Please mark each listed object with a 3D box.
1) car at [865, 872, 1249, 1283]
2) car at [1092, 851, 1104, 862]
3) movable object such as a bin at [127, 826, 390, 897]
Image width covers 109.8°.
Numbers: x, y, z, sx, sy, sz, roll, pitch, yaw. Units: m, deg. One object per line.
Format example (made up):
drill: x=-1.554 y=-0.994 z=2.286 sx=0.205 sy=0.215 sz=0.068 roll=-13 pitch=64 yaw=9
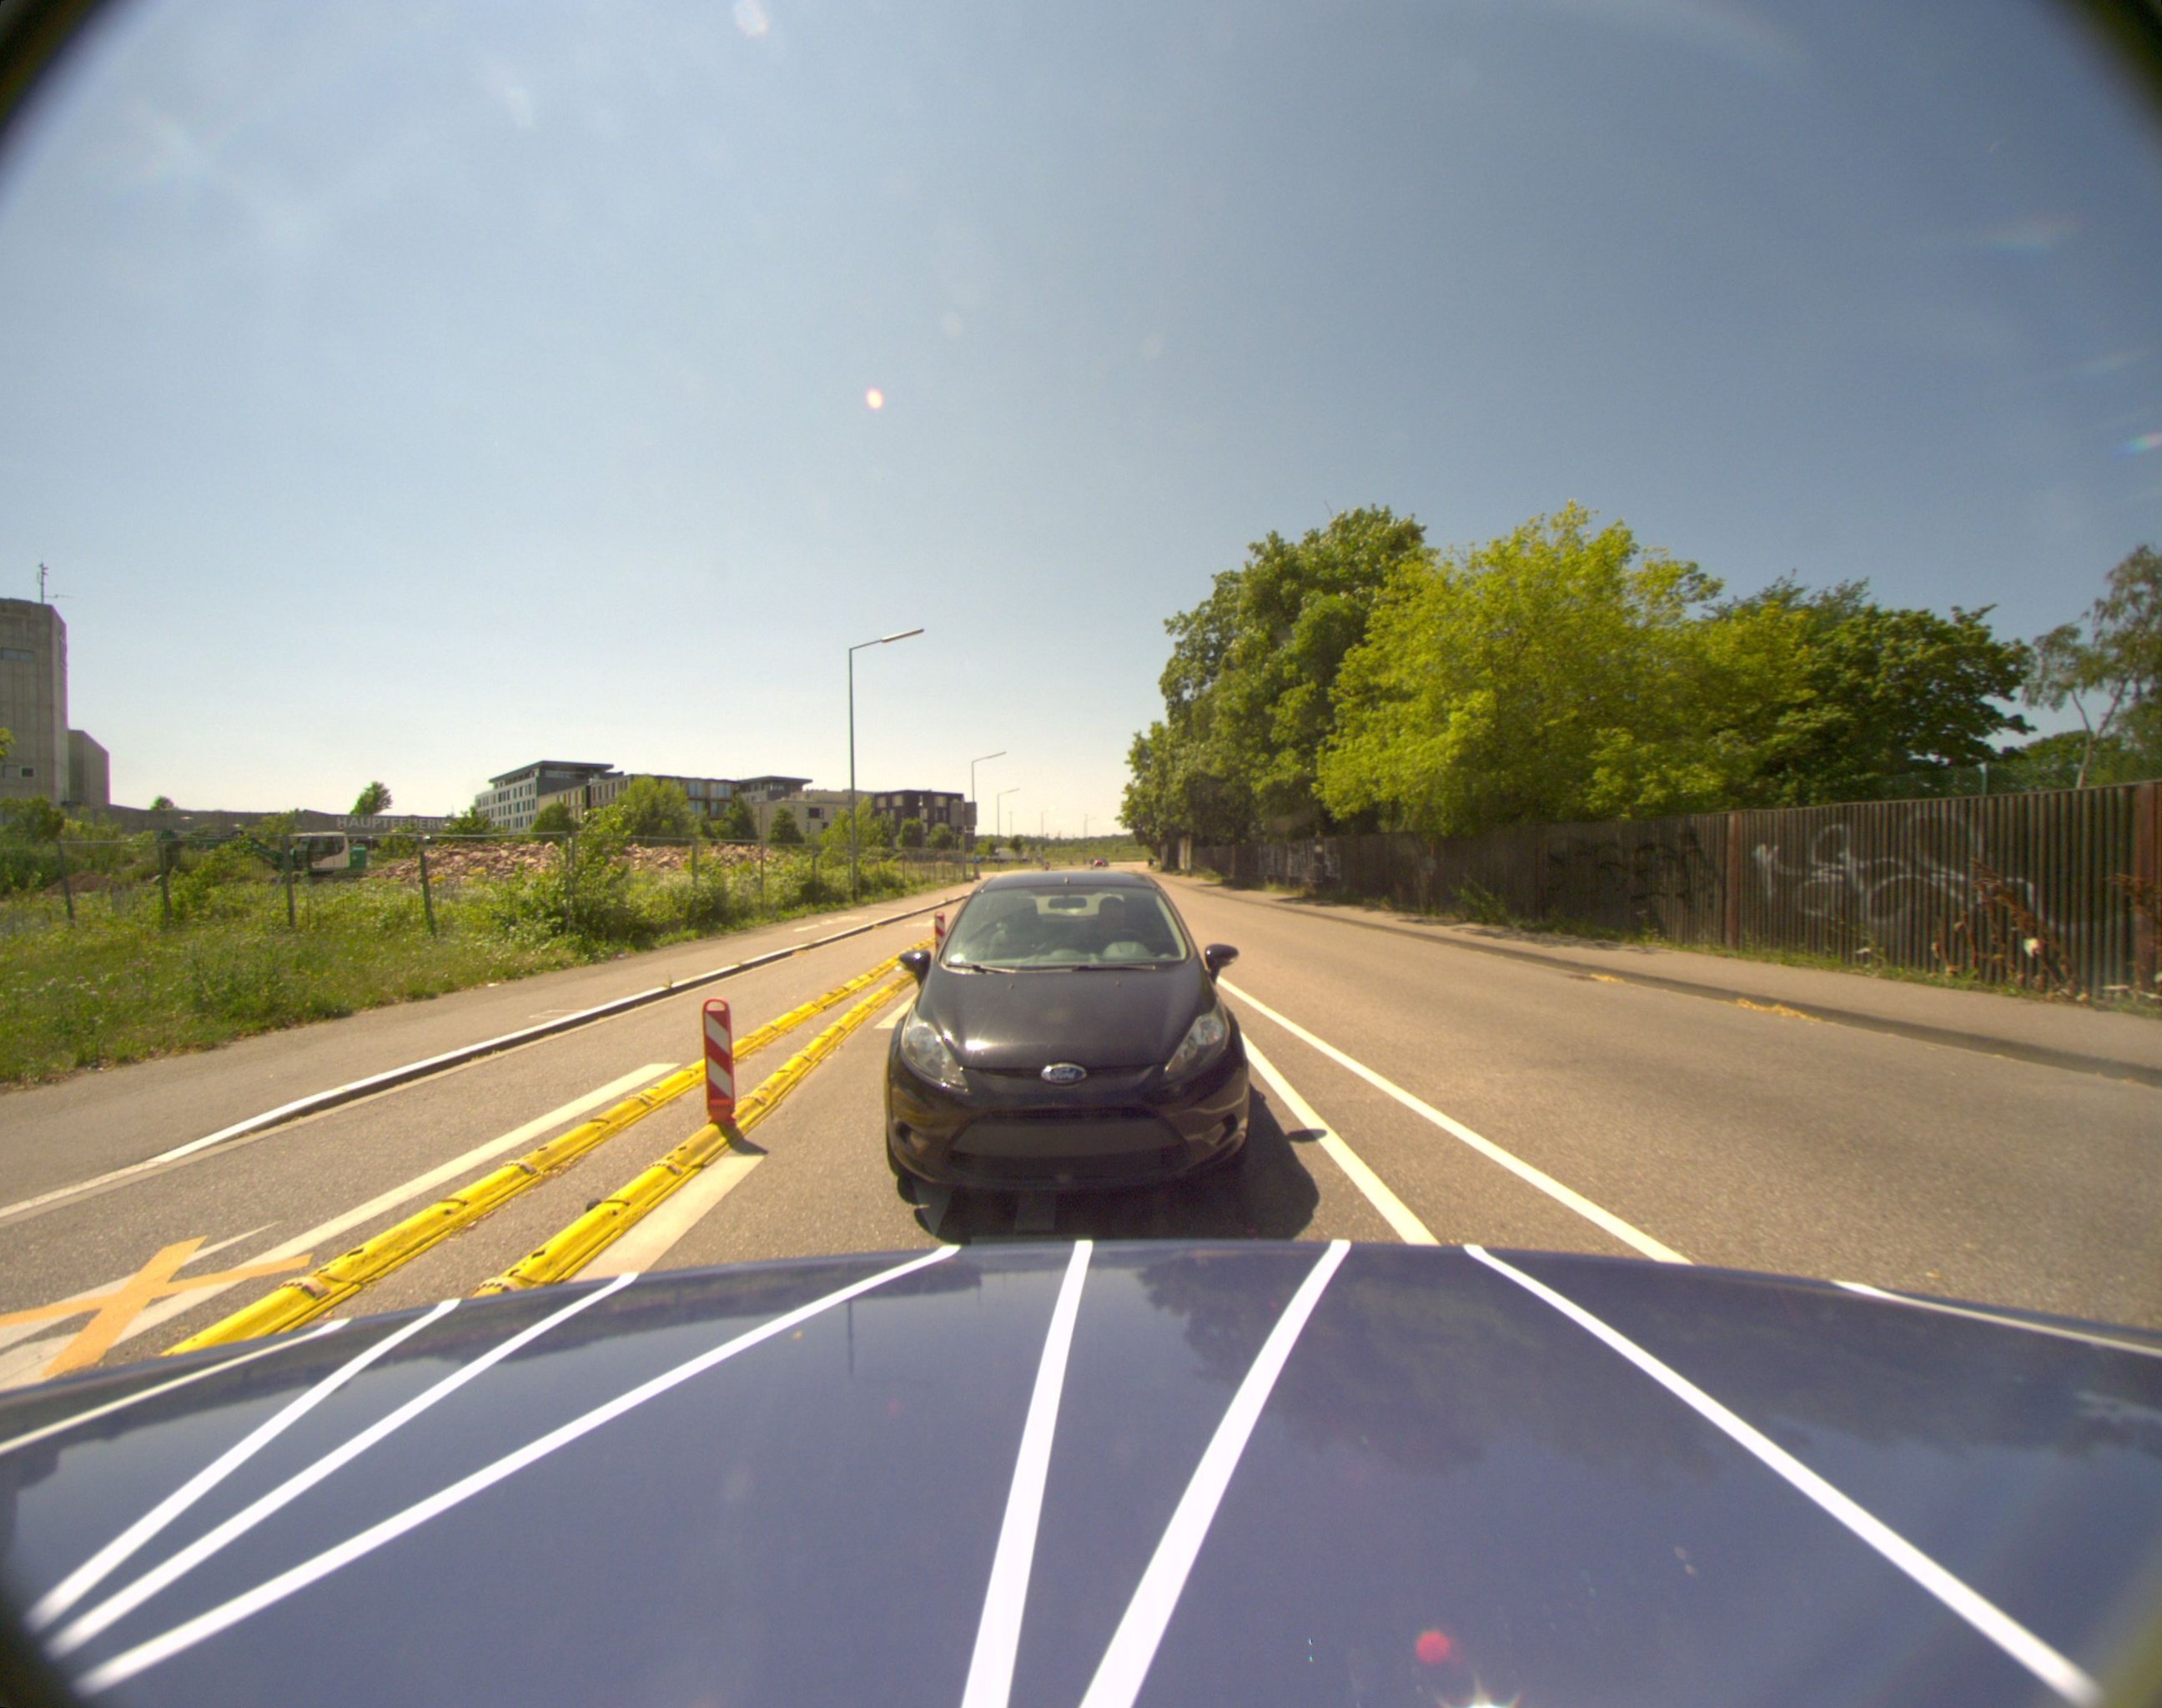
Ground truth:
car: x=-0.070 y=0.976 z=5.131 sx=1.528 sy=1.510 sz=3.999 roll=-2 pitch=1 yaw=1
car: x=2.783 y=0.433 z=124.260 sx=1.924 sy=1.643 sz=4.668 roll=-2 pitch=1 yaw=1
movable object such as a bin: x=-38.342 y=0.265 z=35.959 sx=3.231 sy=2.899 sz=7.702 roll=-2 pitch=1 yaw=15
